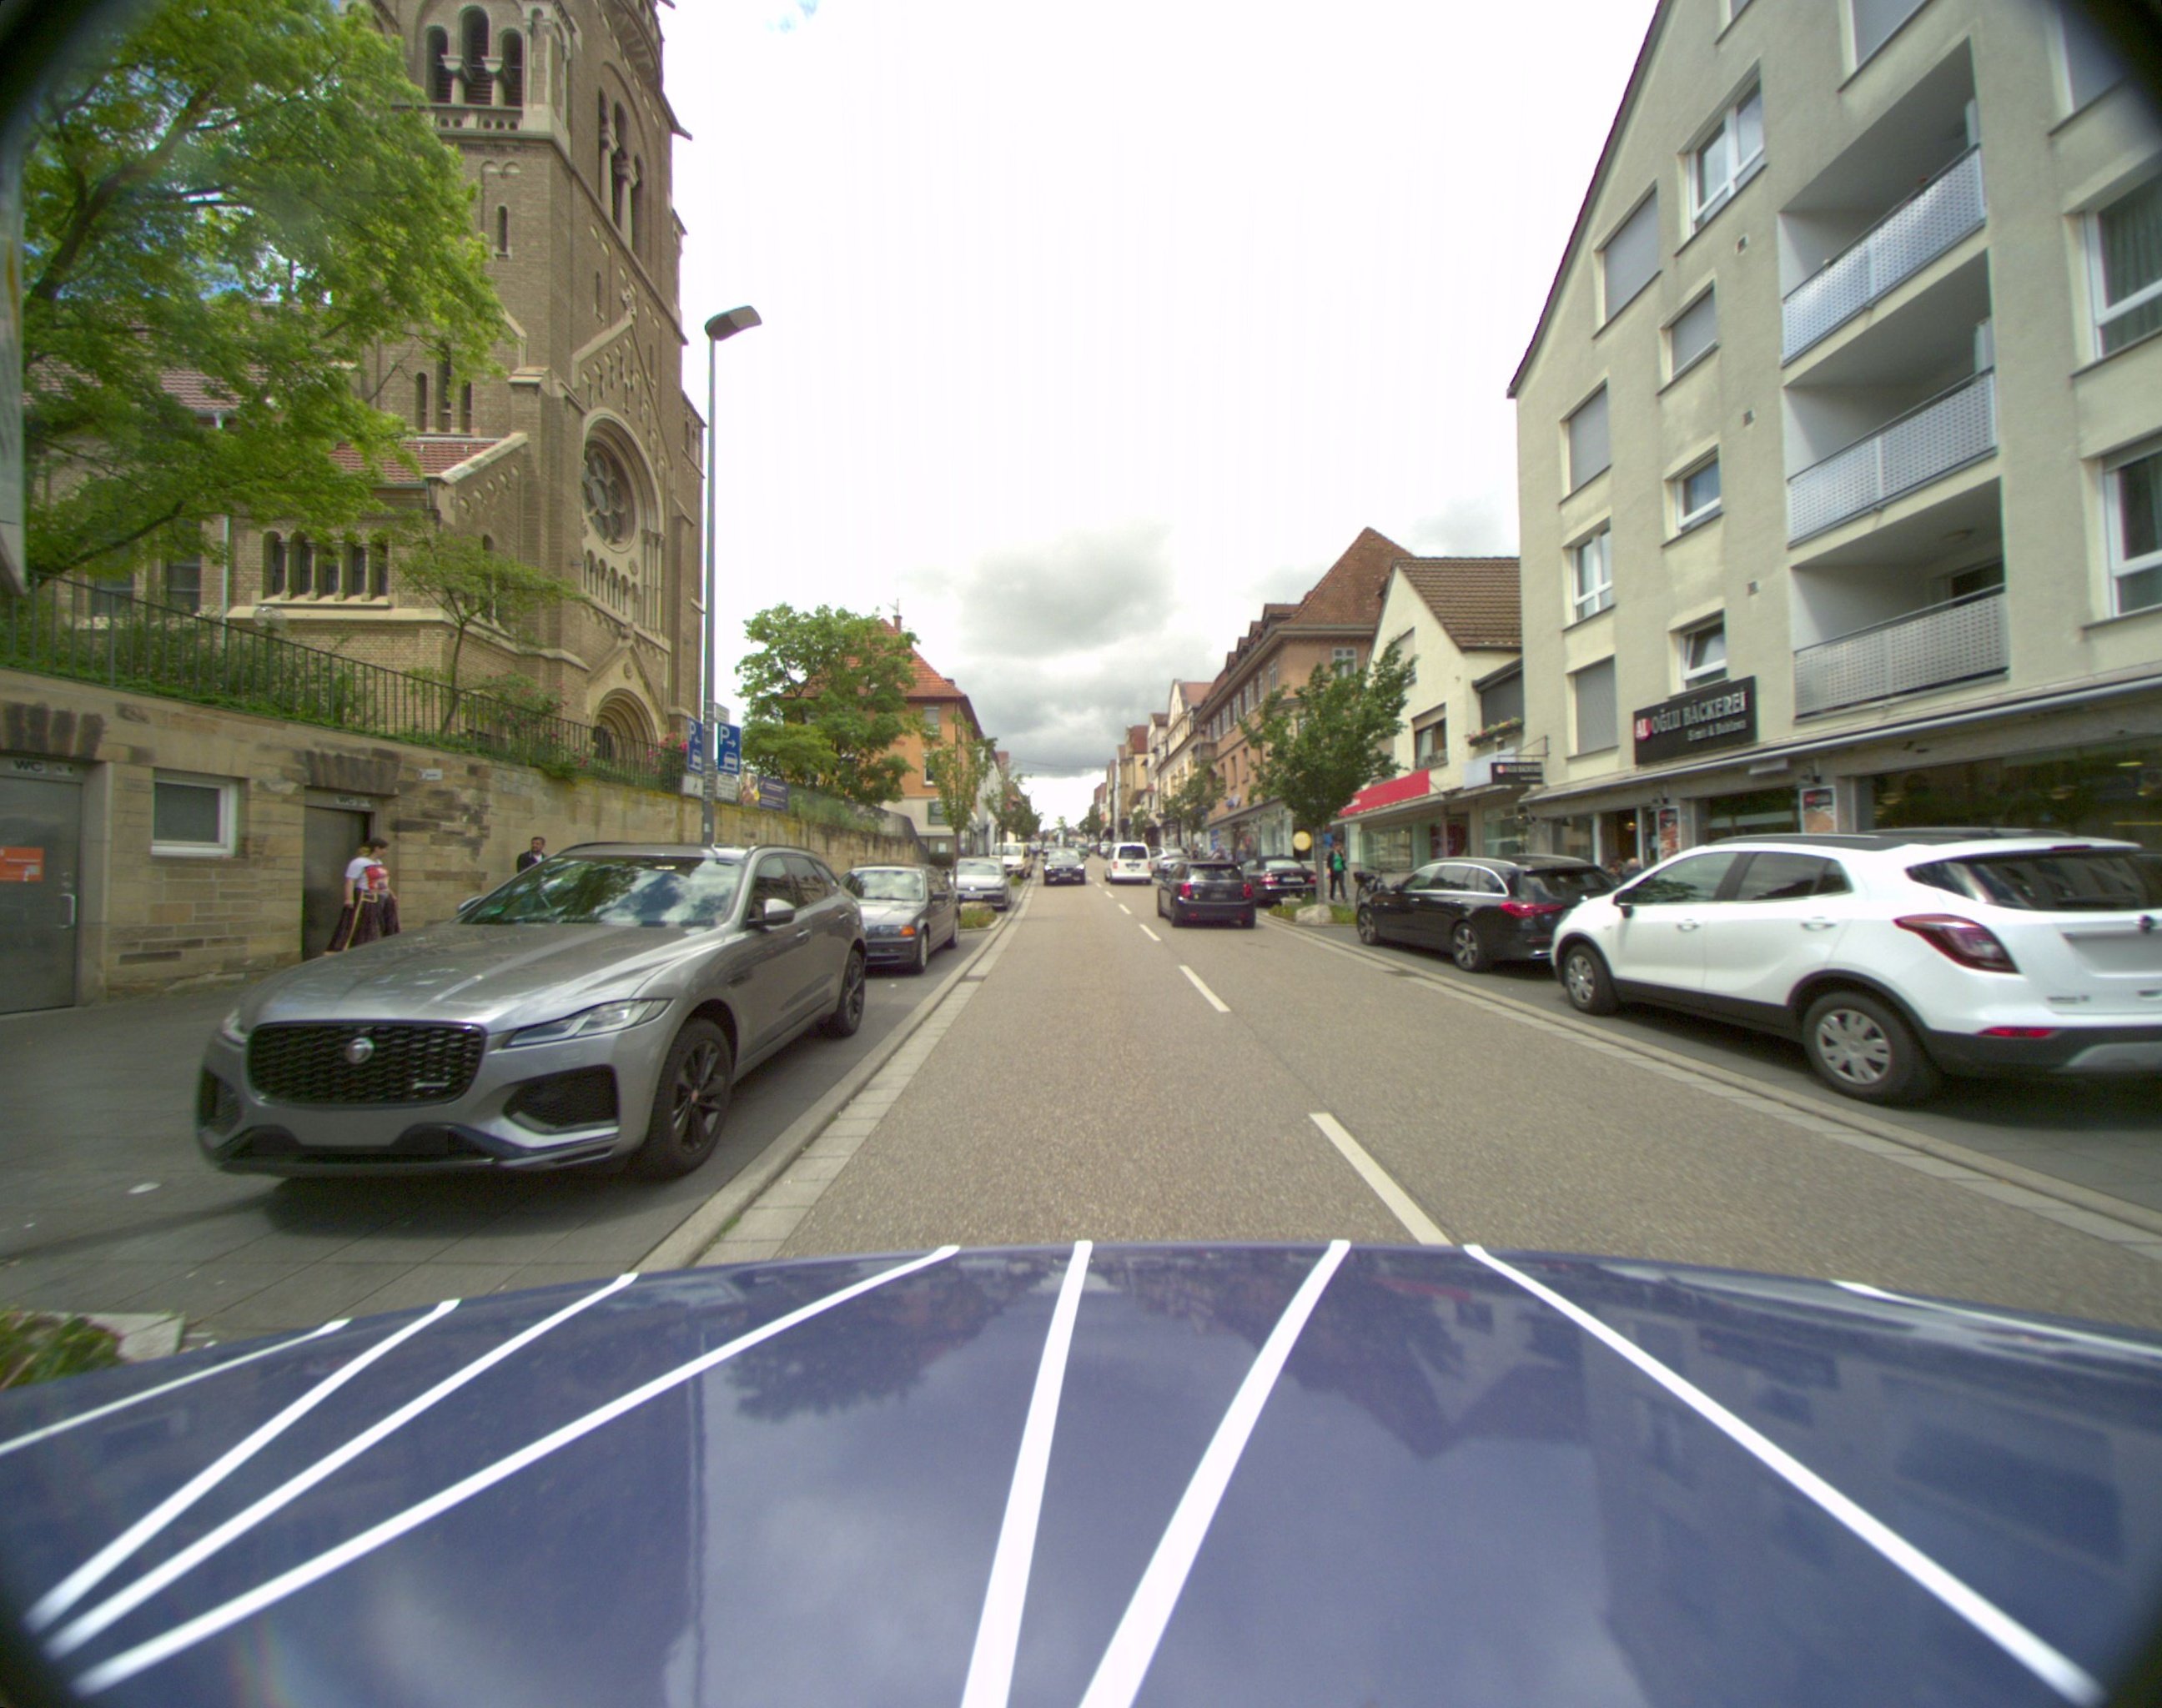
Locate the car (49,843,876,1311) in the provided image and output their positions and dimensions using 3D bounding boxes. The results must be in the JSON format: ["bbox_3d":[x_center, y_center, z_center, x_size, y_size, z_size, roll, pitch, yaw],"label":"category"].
[{"bbox_3d":[-2.877,0.813,5.097,1.934,1.714,4.572,0,0,-2],"label":"car"}]

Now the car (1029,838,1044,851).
[{"bbox_3d":[-5.493,-1.191,94.147,1.774,1.516,3.527,-1,2,-2],"label":"car"}]

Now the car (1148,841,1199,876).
[{"bbox_3d":[4.637,0.179,38.601,1.730,1.564,4.452,-1,2,-4],"label":"car"}]

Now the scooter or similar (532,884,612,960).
[{"bbox_3d":[-7.617,1.001,11.378,0.813,1.066,0.560,0,2,10],"label":"scooter or similar"}]

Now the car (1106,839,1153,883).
[{"bbox_3d":[2.119,0.256,33.935,1.751,1.792,4.211,1,1,-1],"label":"car"}]

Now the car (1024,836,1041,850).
[{"bbox_3d":[-5.314,-1.238,83.823,1.774,1.516,3.527,-1,2,-2],"label":"car"}]

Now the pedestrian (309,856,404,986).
[{"bbox_3d":[-8.707,0.780,9.150,0.589,1.514,0.584,0,0,10],"label":"pedestrian"}]

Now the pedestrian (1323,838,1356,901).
[{"bbox_3d":[7.311,0.423,21.513,0.661,1.751,0.778,-1,2,3],"label":"pedestrian"}]

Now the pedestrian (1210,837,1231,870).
[{"bbox_3d":[7.171,-0.051,39.108,0.873,1.657,0.906,-1,2,-4],"label":"pedestrian"}]

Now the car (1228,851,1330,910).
[{"bbox_3d":[5.491,0.670,21.630,1.661,1.384,4.442,-1,1,-1],"label":"car"}]

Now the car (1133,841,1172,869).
[{"bbox_3d":[4.282,0.049,46.158,1.669,1.517,3.961,-3,2,-4],"label":"car"}]

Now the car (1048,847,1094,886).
[{"bbox_3d":[-0.471,0.521,34.004,1.895,1.516,3.734,-2,2,-2],"label":"car"}]

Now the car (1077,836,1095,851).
[{"bbox_3d":[0.450,-1.152,79.096,1.686,1.492,4.151,0,1,-2],"label":"car"}]

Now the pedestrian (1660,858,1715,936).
[{"bbox_3d":[9.925,0.688,12.443,0.428,1.242,0.566,-2,0,-1],"label":"pedestrian"}]

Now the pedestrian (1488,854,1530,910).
[{"bbox_3d":[9.692,0.626,17.221,0.597,1.239,0.598,-2,1,-2],"label":"pedestrian"}]

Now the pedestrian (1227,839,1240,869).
[{"bbox_3d":[7.455,-0.005,37.151,0.497,1.469,0.528,-1,2,-4],"label":"pedestrian"}]

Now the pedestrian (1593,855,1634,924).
[{"bbox_3d":[9.873,0.653,14.098,0.396,1.242,0.500,-2,1,-1],"label":"pedestrian"}]

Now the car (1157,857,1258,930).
[{"bbox_3d":[2.690,0.794,16.894,1.611,1.380,3.628,0,1,0],"label":"car"}]

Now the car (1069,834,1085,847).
[{"bbox_3d":[-0.527,-1.729,95.699,1.831,1.680,3.857,0,2,-3],"label":"car"}]

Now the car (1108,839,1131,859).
[{"bbox_3d":[3.346,-0.496,66.849,1.732,1.670,3.990,-1,2,-2],"label":"car"}]

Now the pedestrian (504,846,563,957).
[{"bbox_3d":[-8.274,0.698,11.489,0.473,1.636,0.507,0,2,10],"label":"pedestrian"}]

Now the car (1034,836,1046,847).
[{"bbox_3d":[-5.801,-1.781,107.312,1.690,1.366,3.527,-1,2,-2],"label":"car"}]

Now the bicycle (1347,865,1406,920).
[{"bbox_3d":[6.607,0.828,17.092,0.485,1.100,1.907,-2,1,-2],"label":"bicycle"}]

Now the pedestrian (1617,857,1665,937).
[{"bbox_3d":[9.286,0.696,12.608,0.422,1.292,0.454,-2,1,-1],"label":"pedestrian"}]

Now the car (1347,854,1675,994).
[{"bbox_3d":[5.646,0.780,10.794,1.844,1.443,4.513,-2,1,-4],"label":"car"}]

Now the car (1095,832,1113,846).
[{"bbox_3d":[2.538,-1.646,84.565,1.690,1.516,3.527,-1,2,-2],"label":"car"}]

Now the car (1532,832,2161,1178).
[{"bbox_3d":[5.469,0.720,5.753,1.670,1.637,4.133,-2,0,1],"label":"car"}]

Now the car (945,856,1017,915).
[{"bbox_3d":[-2.788,0.832,21.902,1.759,1.433,4.087,0,1,-3],"label":"car"}]

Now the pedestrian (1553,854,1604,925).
[{"bbox_3d":[9.245,0.647,14.131,0.551,1.260,0.598,-2,1,-2],"label":"pedestrian"}]

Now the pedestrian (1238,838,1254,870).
[{"bbox_3d":[8.064,-0.013,37.177,0.615,1.573,0.642,-1,2,-4],"label":"pedestrian"}]

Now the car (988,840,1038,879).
[{"bbox_3d":[-3.462,0.227,39.526,1.889,1.837,5.030,0,1,3],"label":"car"}]

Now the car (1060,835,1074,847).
[{"bbox_3d":[-2.032,-1.935,110.109,1.895,1.670,3.734,1,2,-2],"label":"car"}]

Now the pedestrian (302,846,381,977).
[{"bbox_3d":[-9.454,0.713,9.729,0.473,1.636,0.507,0,2,10],"label":"pedestrian"}]

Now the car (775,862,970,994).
[{"bbox_3d":[-2.852,0.923,11.437,1.685,1.409,4.370,-1,2,0],"label":"car"}]
